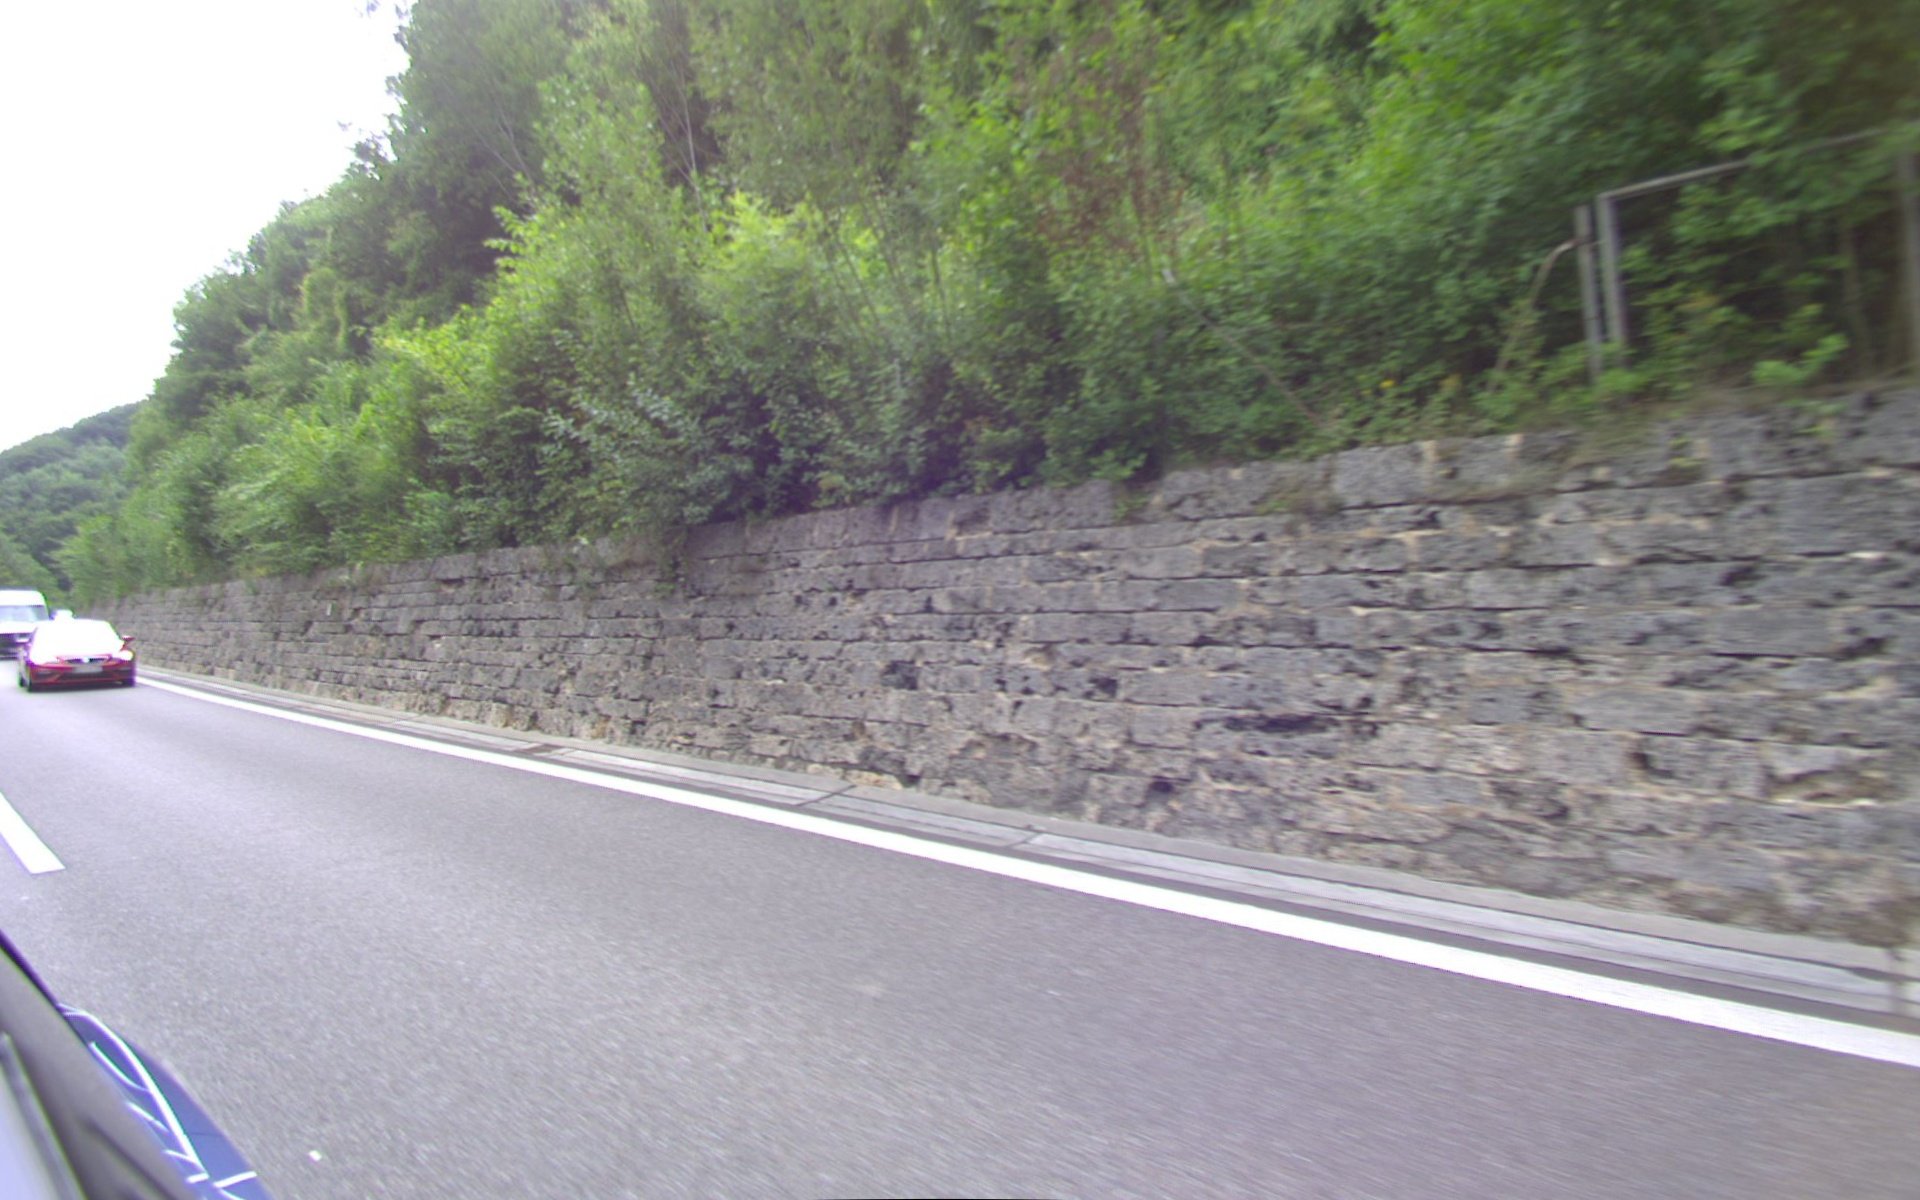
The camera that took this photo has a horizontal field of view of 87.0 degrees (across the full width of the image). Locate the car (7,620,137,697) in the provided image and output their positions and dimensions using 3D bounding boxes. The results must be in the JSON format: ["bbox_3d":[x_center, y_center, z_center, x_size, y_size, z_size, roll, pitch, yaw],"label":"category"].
[{"bbox_3d":[-19.308,1.195,21.937,4.412,1.471,1.747,-1,-1,44],"label":"car"}]

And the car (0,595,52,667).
[{"bbox_3d":[-36.694,1.163,39.192,2.002,2.605,6.279,0,-1,-44],"label":"car"}]
